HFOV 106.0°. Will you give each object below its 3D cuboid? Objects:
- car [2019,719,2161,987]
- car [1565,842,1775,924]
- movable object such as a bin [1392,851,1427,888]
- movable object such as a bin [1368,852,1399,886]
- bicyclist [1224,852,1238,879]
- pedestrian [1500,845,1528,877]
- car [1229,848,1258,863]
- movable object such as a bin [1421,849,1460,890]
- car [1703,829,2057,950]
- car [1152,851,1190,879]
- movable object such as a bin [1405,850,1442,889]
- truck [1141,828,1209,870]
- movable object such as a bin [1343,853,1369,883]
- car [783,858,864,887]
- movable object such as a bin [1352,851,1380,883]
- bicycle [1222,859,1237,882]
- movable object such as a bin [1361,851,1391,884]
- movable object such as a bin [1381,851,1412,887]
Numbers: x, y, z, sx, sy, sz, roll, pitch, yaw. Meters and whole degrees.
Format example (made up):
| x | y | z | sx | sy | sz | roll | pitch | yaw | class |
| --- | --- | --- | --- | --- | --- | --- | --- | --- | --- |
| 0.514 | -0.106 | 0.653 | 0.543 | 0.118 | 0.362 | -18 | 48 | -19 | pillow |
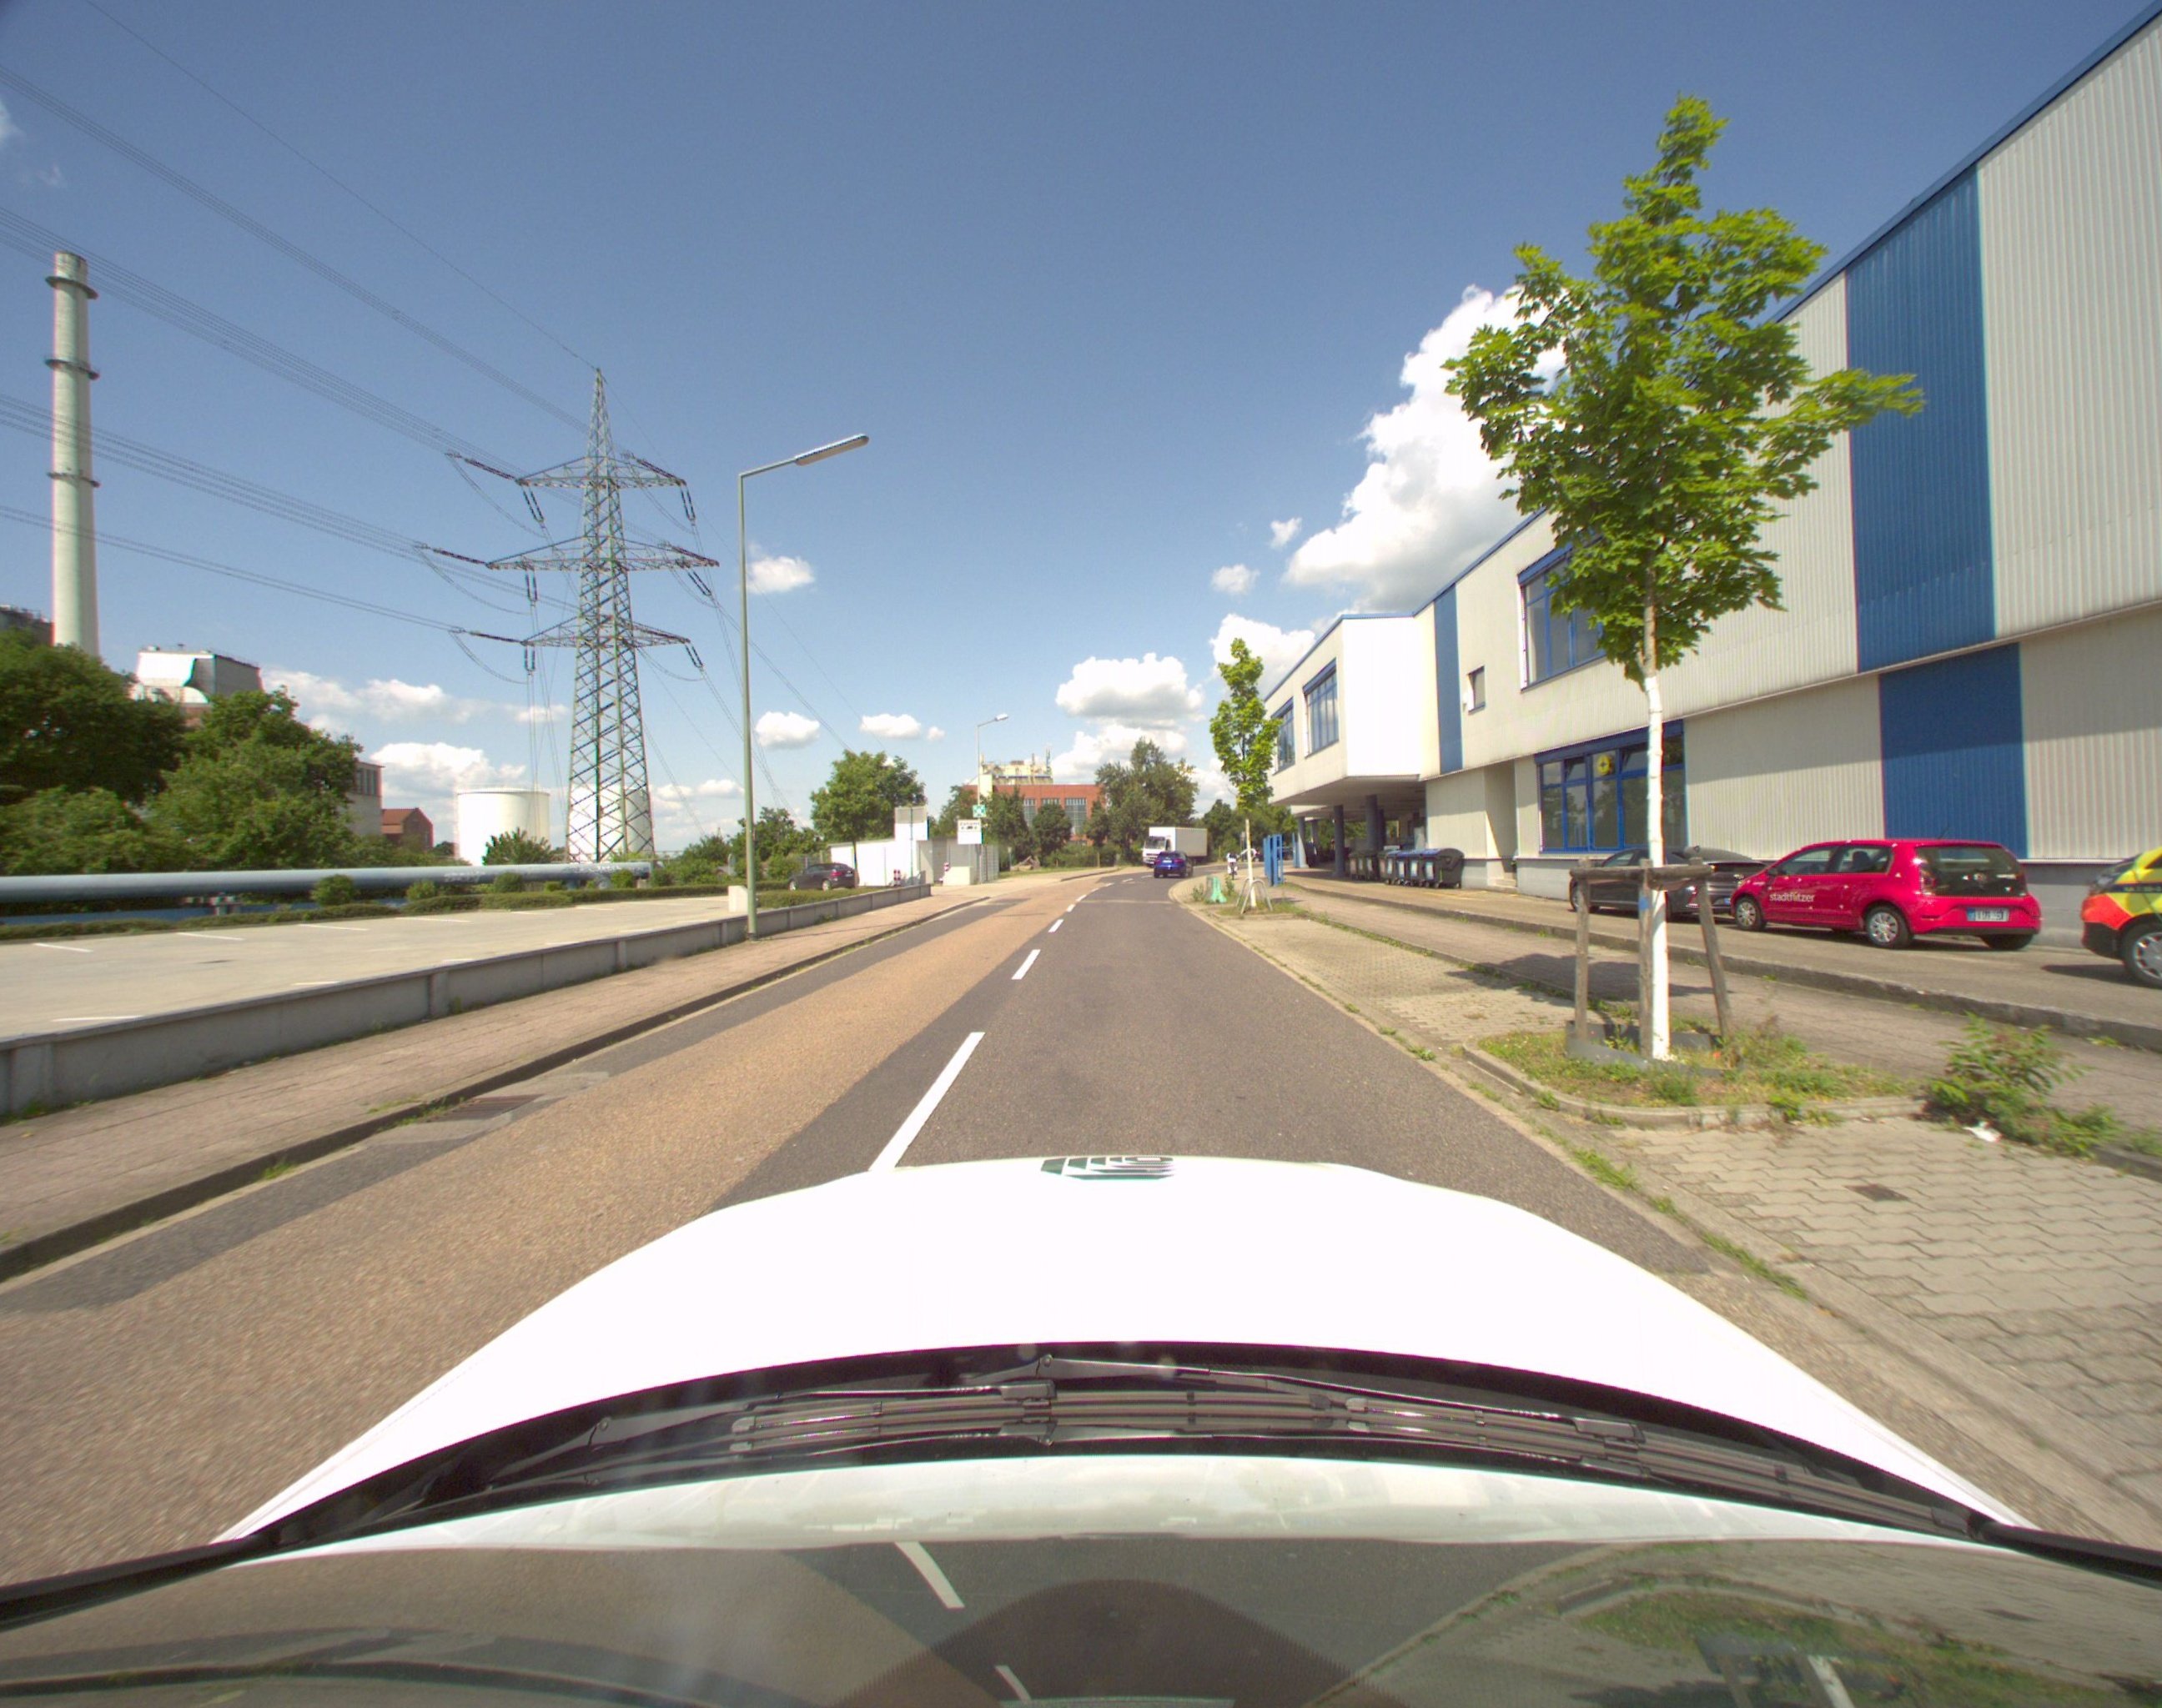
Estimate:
| x | y | z | sx | sy | sz | roll | pitch | yaw | class |
| --- | --- | --- | --- | --- | --- | --- | --- | --- | --- |
| 10.847 | -0.036 | 5.984 | 1.916 | 2.464 | 5.261 | -1 | -1 | 2 | car |
| 11.481 | 0.531 | 16.229 | 1.490 | 1.403 | 3.856 | -1 | -1 | 2 | car |
| 12.927 | 0.607 | 32.077 | 0.801 | 1.413 | 1.358 | -1 | -1 | 1 | movable object such as a bin |
| 12.937 | 0.628 | 34.849 | 0.801 | 1.413 | 1.427 | -1 | -1 | 0 | movable object such as a bin |
| 7.902 | 0.614 | 42.854 | 0.658 | 1.397 | 0.861 | -2 | -1 | 13 | bicyclist |
| 14.135 | 0.223 | 26.580 | 0.562 | 1.013 | 0.711 | 1 | -1 | 2 | pedestrian |
| 17.940 | 0.170 | 89.907 | 2.884 | 1.570 | 1.893 | -1 | -1 | 5 | car |
| 12.830 | 0.549 | 29.111 | 0.801 | 1.413 | 1.358 | -1 | -1 | 1 | movable object such as a bin |
| 11.426 | 0.465 | 12.068 | 1.566 | 1.490 | 3.818 | -1 | -1 | 2 | car |
| 5.695 | 0.678 | 51.009 | 1.897 | 1.593 | 4.716 | -1 | -1 | 12 | car |
| 12.833 | 0.564 | 30.551 | 0.801 | 1.413 | 1.358 | -1 | -1 | 1 | movable object such as a bin |
| 8.725 | -0.509 | 74.390 | 2.299 | 3.567 | 9.427 | 0 | 1 | 32 | truck |
| 13.275 | 0.651 | 39.309 | 0.801 | 1.413 | 1.357 | -1 | -1 | 0 | movable object such as a bin |
| -12.850 | 0.928 | 40.578 | 3.948 | 1.378 | 1.815 | -2 | 0 | 36 | car |
| 13.211 | 0.597 | 37.831 | 0.801 | 1.413 | 1.357 | -1 | -1 | 0 | movable object such as a bin |
| 7.787 | 0.849 | 42.631 | 0.662 | 1.109 | 2.175 | -2 | 0 | 13 | bicycle |
| 13.166 | 0.593 | 36.419 | 0.801 | 1.413 | 1.405 | -1 | -1 | 0 | movable object such as a bin |
| 12.936 | 0.606 | 33.399 | 0.801 | 1.413 | 1.174 | -1 | -1 | 0 | movable object such as a bin |
